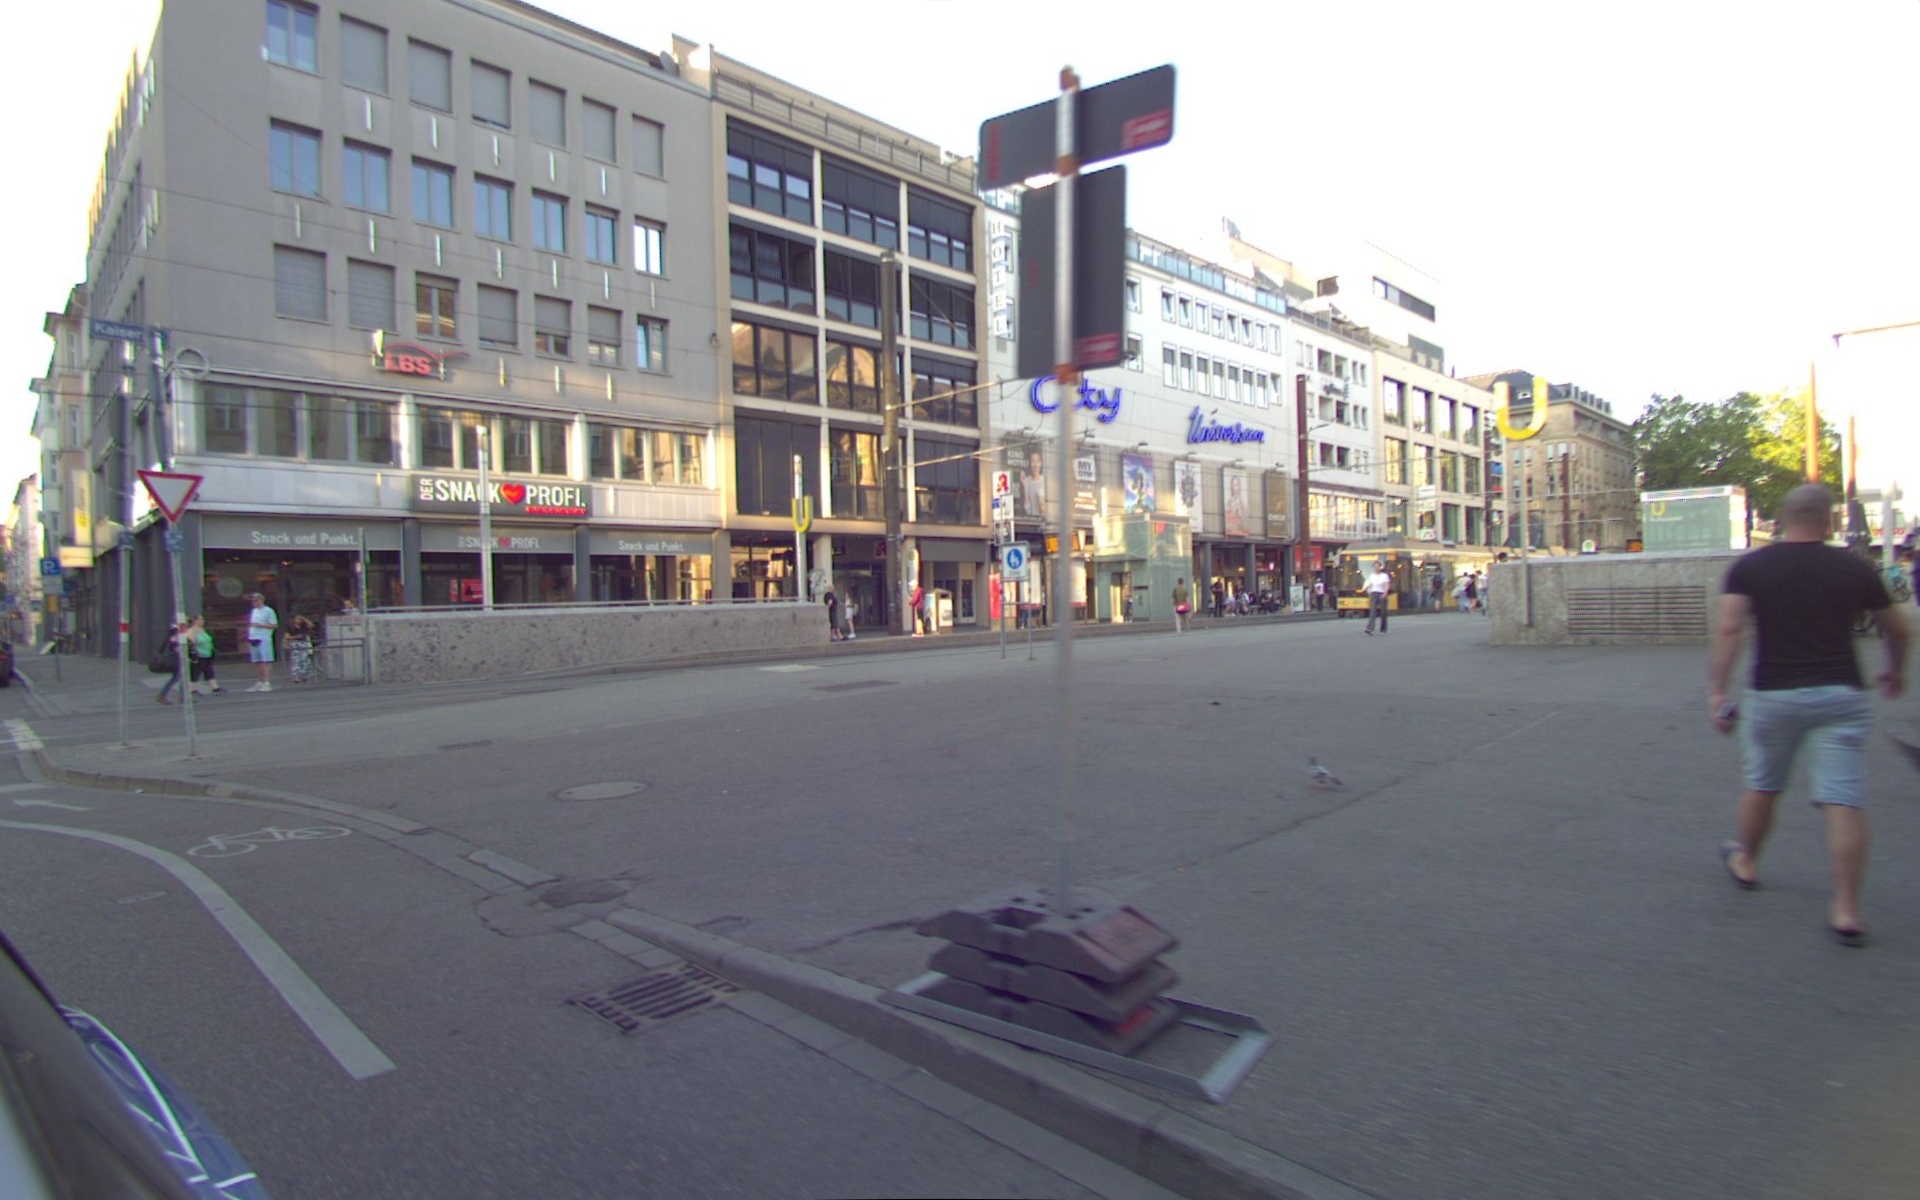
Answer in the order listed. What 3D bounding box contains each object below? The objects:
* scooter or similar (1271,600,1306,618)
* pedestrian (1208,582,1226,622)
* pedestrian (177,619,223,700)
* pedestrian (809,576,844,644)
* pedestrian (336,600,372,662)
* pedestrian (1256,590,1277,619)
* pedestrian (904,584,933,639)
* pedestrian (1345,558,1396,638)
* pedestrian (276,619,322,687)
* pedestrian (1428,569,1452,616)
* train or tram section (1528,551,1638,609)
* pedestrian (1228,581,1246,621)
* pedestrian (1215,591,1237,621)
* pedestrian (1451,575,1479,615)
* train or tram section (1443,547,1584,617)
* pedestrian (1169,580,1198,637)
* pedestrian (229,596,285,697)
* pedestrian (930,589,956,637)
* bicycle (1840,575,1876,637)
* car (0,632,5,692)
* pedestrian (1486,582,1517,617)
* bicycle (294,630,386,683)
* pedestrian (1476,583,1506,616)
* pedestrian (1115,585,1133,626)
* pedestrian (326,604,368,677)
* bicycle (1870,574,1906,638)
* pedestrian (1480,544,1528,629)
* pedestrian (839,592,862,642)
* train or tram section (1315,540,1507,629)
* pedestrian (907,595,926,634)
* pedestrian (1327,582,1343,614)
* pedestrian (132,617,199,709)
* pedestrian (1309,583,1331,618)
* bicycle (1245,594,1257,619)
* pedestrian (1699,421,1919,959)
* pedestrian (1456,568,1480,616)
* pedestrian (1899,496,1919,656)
[{"bbox_3d":[16.023,0.460,49.365,1.502,0.837,0.560,-1,-1,-6],"label":"scooter or similar"},{"bbox_3d":[11.154,0.098,43.979,0.703,1.738,0.772,-2,-1,15],"label":"pedestrian"},{"bbox_3d":[-14.383,1.113,19.146,0.604,1.505,0.548,-2,-2,38],"label":"pedestrian"},{"bbox_3d":[-3.871,0.302,29.320,0.715,1.939,0.700,-2,-2,40],"label":"pedestrian"},{"bbox_3d":[-17.346,0.886,28.971,0.716,1.738,0.699,-2,-2,44],"label":"pedestrian"},{"bbox_3d":[15.111,0.236,49.895,0.710,1.389,0.710,-2,-2,44],"label":"pedestrian"},{"bbox_3d":[-1.311,0.365,31.683,0.773,1.710,0.717,-1,-1,-9],"label":"pedestrian"},{"bbox_3d":[9.802,-0.042,24.143,0.775,1.837,0.927,-4,-2,42],"label":"pedestrian"},{"bbox_3d":[-14.407,1.138,22.066,0.674,1.445,0.556,-1,-1,-7],"label":"pedestrian"},{"bbox_3d":[19.064,-0.289,40.210,0.733,1.837,0.811,-2,0,31],"label":"pedestrian"},{"bbox_3d":[40.319,-1.302,65.110,2.811,3.344,14.297,-2,0,44],"label":"train or tram section"},{"bbox_3d":[12.364,0.053,45.144,0.703,1.738,0.771,-2,-1,16],"label":"pedestrian"},{"bbox_3d":[12.515,0.281,47.623,0.710,1.389,0.710,-2,-2,44],"label":"pedestrian"},{"bbox_3d":[20.610,-0.202,41.308,0.795,1.591,0.758,-2,0,43],"label":"pedestrian"},{"bbox_3d":[30.310,-1.005,54.894,2.811,3.344,14.297,-2,0,44],"label":"train or tram section"},{"bbox_3d":[6.889,0.260,31.208,0.716,1.738,0.704,-2,-1,24],"label":"pedestrian"},{"bbox_3d":[-13.801,0.904,19.874,0.774,1.941,0.700,-2,-2,38],"label":"pedestrian"},{"bbox_3d":[-0.588,0.446,34.298,0.595,1.600,0.629,0,-2,-37],"label":"pedestrian"},{"bbox_3d":[13.068,0.083,14.728,0.316,0.874,0.986,-4,-1,44],"label":"bicycle"},{"bbox_3d":[-26.161,1.613,26.252,4.133,1.522,1.775,-2,-1,43],"label":"car"},{"bbox_3d":[19.847,-0.020,37.100,0.794,1.230,0.759,-2,0,42],"label":"pedestrian"},{"bbox_3d":[-14.749,1.318,24.097,1.772,1.116,0.501,-3,1,-40],"label":"bicycle"},{"bbox_3d":[19.983,-0.021,38.098,0.794,1.230,0.759,-2,0,42],"label":"pedestrian"},{"bbox_3d":[6.495,0.223,40.106,0.512,1.630,0.499,-2,-2,36],"label":"pedestrian"},{"bbox_3d":[-14.970,0.989,24.722,0.716,1.738,0.699,-2,-2,44],"label":"pedestrian"},{"bbox_3d":[13.297,0.078,14.495,0.316,0.874,0.986,-4,-1,44],"label":"bicycle"},{"bbox_3d":[13.253,-0.326,24.652,0.773,2.029,0.904,-1,0,44],"label":"pedestrian"},{"bbox_3d":[-3.606,0.567,33.351,0.620,1.600,0.604,-1,-1,3],"label":"pedestrian"},{"bbox_3d":[20.304,-0.709,44.690,2.811,3.344,14.297,-2,0,44],"label":"train or tram section"},{"bbox_3d":[-1.767,0.594,41.179,0.509,1.559,0.511,-2,-2,37],"label":"pedestrian"},{"bbox_3d":[20.516,-0.090,55.356,0.602,1.740,0.600,-2,-2,38],"label":"pedestrian"},{"bbox_3d":[-13.779,1.087,17.564,0.677,1.553,0.605,-1,-1,3],"label":"pedestrian"},{"bbox_3d":[17.867,0.035,50.192,0.699,1.738,0.776,0,-2,-45],"label":"pedestrian"},{"bbox_3d":[14.224,0.307,49.478,0.431,1.150,1.607,-2,0,21],"label":"bicycle"},{"bbox_3d":[3.450,0.303,3.937,0.806,1.853,0.861,0,1,45],"label":"pedestrian"},{"bbox_3d":[19.820,-0.305,39.478,0.733,1.837,0.811,-2,0,31],"label":"pedestrian"},{"bbox_3d":[11.544,-0.297,11.731,0.793,1.837,0.812,-3,0,-40],"label":"pedestrian"}]
